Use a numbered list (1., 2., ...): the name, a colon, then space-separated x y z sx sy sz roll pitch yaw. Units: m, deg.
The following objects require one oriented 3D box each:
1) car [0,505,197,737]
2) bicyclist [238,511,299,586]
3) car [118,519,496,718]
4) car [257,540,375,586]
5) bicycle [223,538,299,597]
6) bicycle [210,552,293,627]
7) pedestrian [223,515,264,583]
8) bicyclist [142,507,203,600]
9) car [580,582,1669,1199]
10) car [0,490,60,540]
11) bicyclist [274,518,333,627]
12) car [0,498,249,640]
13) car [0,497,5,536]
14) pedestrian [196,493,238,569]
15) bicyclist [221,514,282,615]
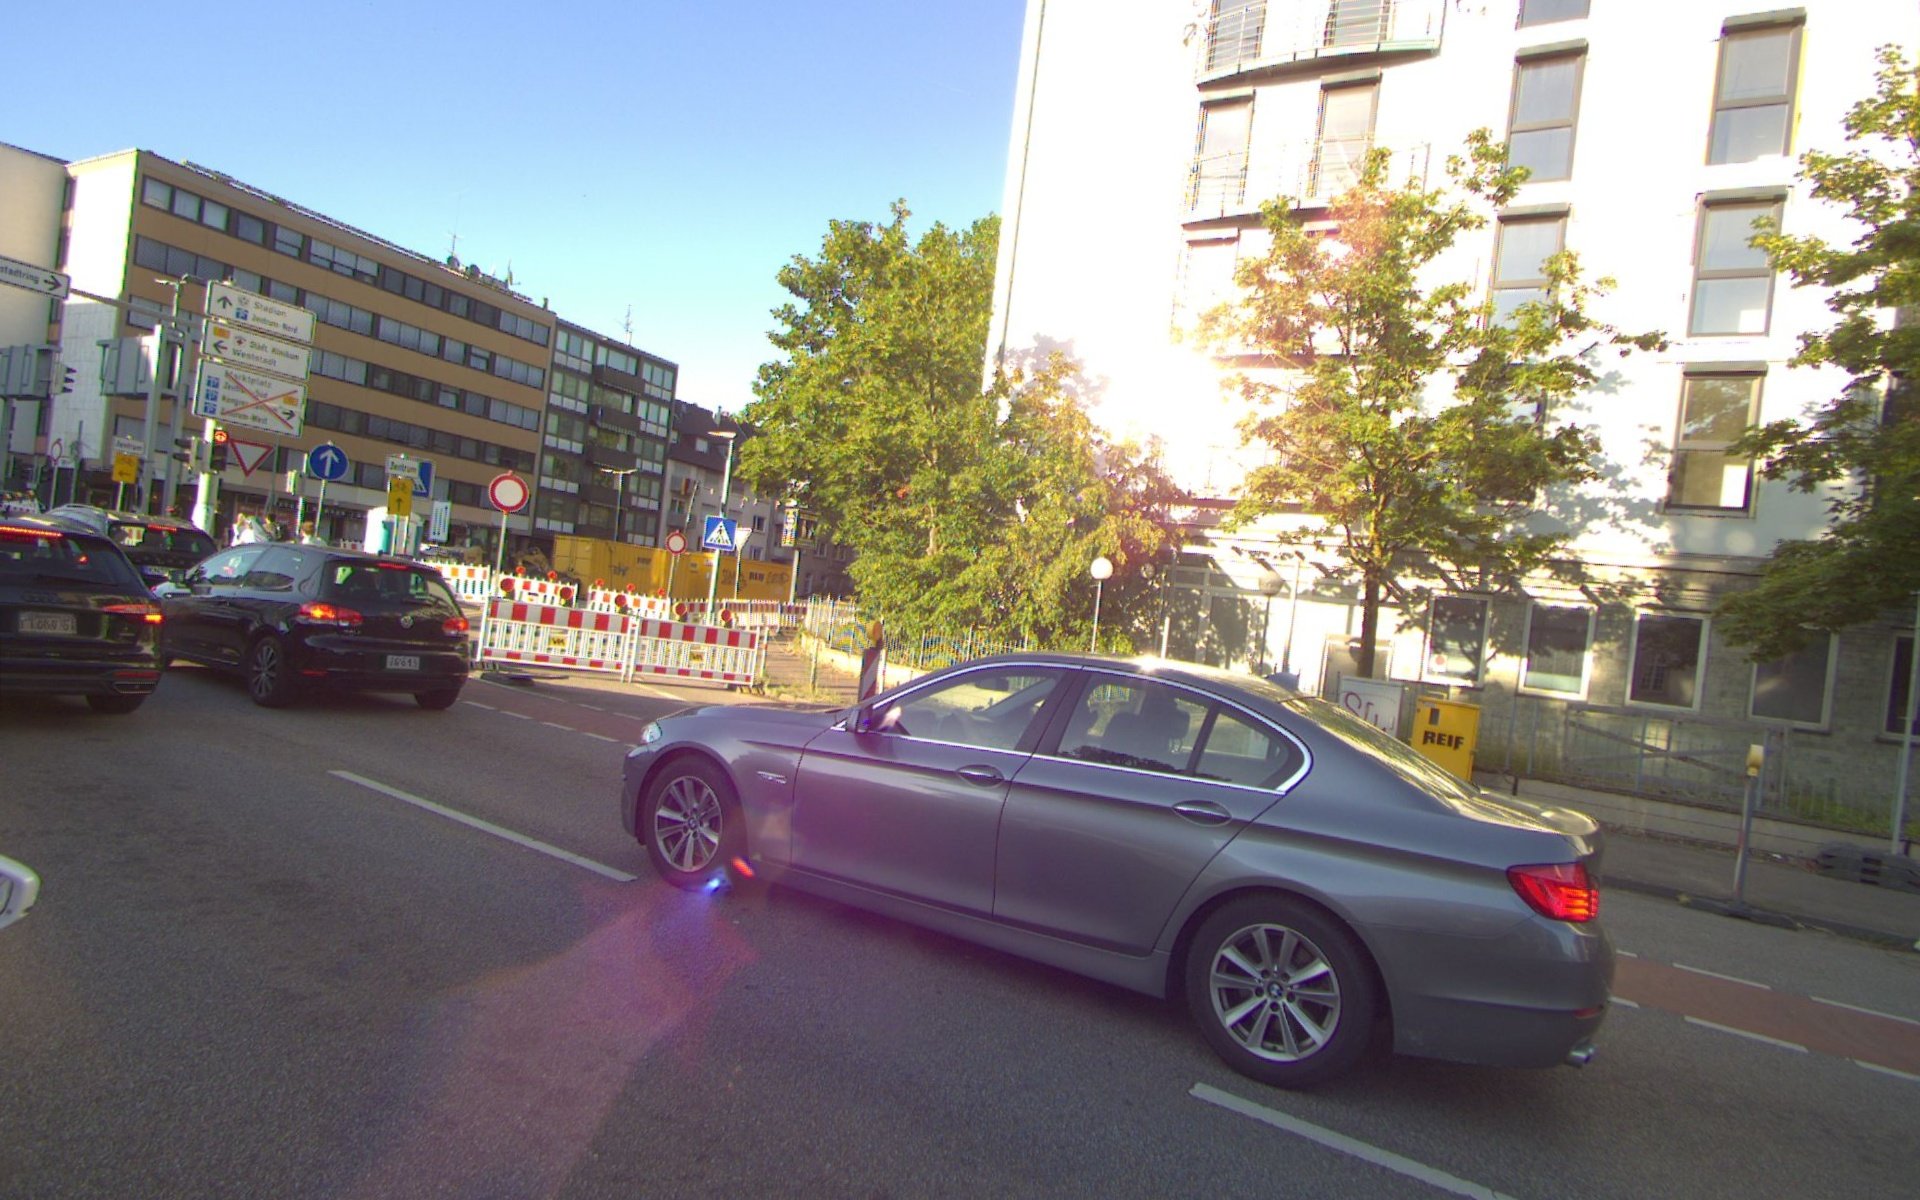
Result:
1. car: -7.652 -0.048 7.458 4.144 1.437 1.685 7 -2 32
2. bicyclist: -16.438 -1.213 23.926 0.799 1.608 0.620 8 0 3
3. car: -6.602 0.158 10.092 3.683 1.466 1.637 7 -2 32
4. car: -28.254 -1.594 44.248 1.654 1.435 3.991 7 -1 34
5. bicycle: -16.616 -0.767 23.918 1.471 1.175 0.374 8 0 5
6. bicycle: -11.483 -0.178 16.282 1.825 1.020 0.337 7 0 32
7. pedestrian: -18.737 -1.338 26.312 0.447 1.691 0.602 7 0 33
8. bicyclist: -13.956 -0.828 17.825 0.713 1.544 0.514 7 0 32
9. car: 0.506 0.949 4.972 4.587 1.466 1.819 7 -1 29
10. car: -32.239 -2.975 32.649 1.670 1.459 4.244 7 -1 14
11. bicyclist: -9.810 -0.408 15.038 0.474 1.544 0.441 7 0 31
12. car: -11.102 -0.421 13.324 3.250 1.467 1.507 7 0 32
13. car: -36.191 -3.242 35.067 1.621 1.389 3.792 7 -1 26
14. pedestrian: -18.976 -1.752 25.700 0.479 1.857 0.570 7 0 34
15. bicyclist: -11.501 -0.572 16.327 0.713 1.544 0.441 7 0 32
